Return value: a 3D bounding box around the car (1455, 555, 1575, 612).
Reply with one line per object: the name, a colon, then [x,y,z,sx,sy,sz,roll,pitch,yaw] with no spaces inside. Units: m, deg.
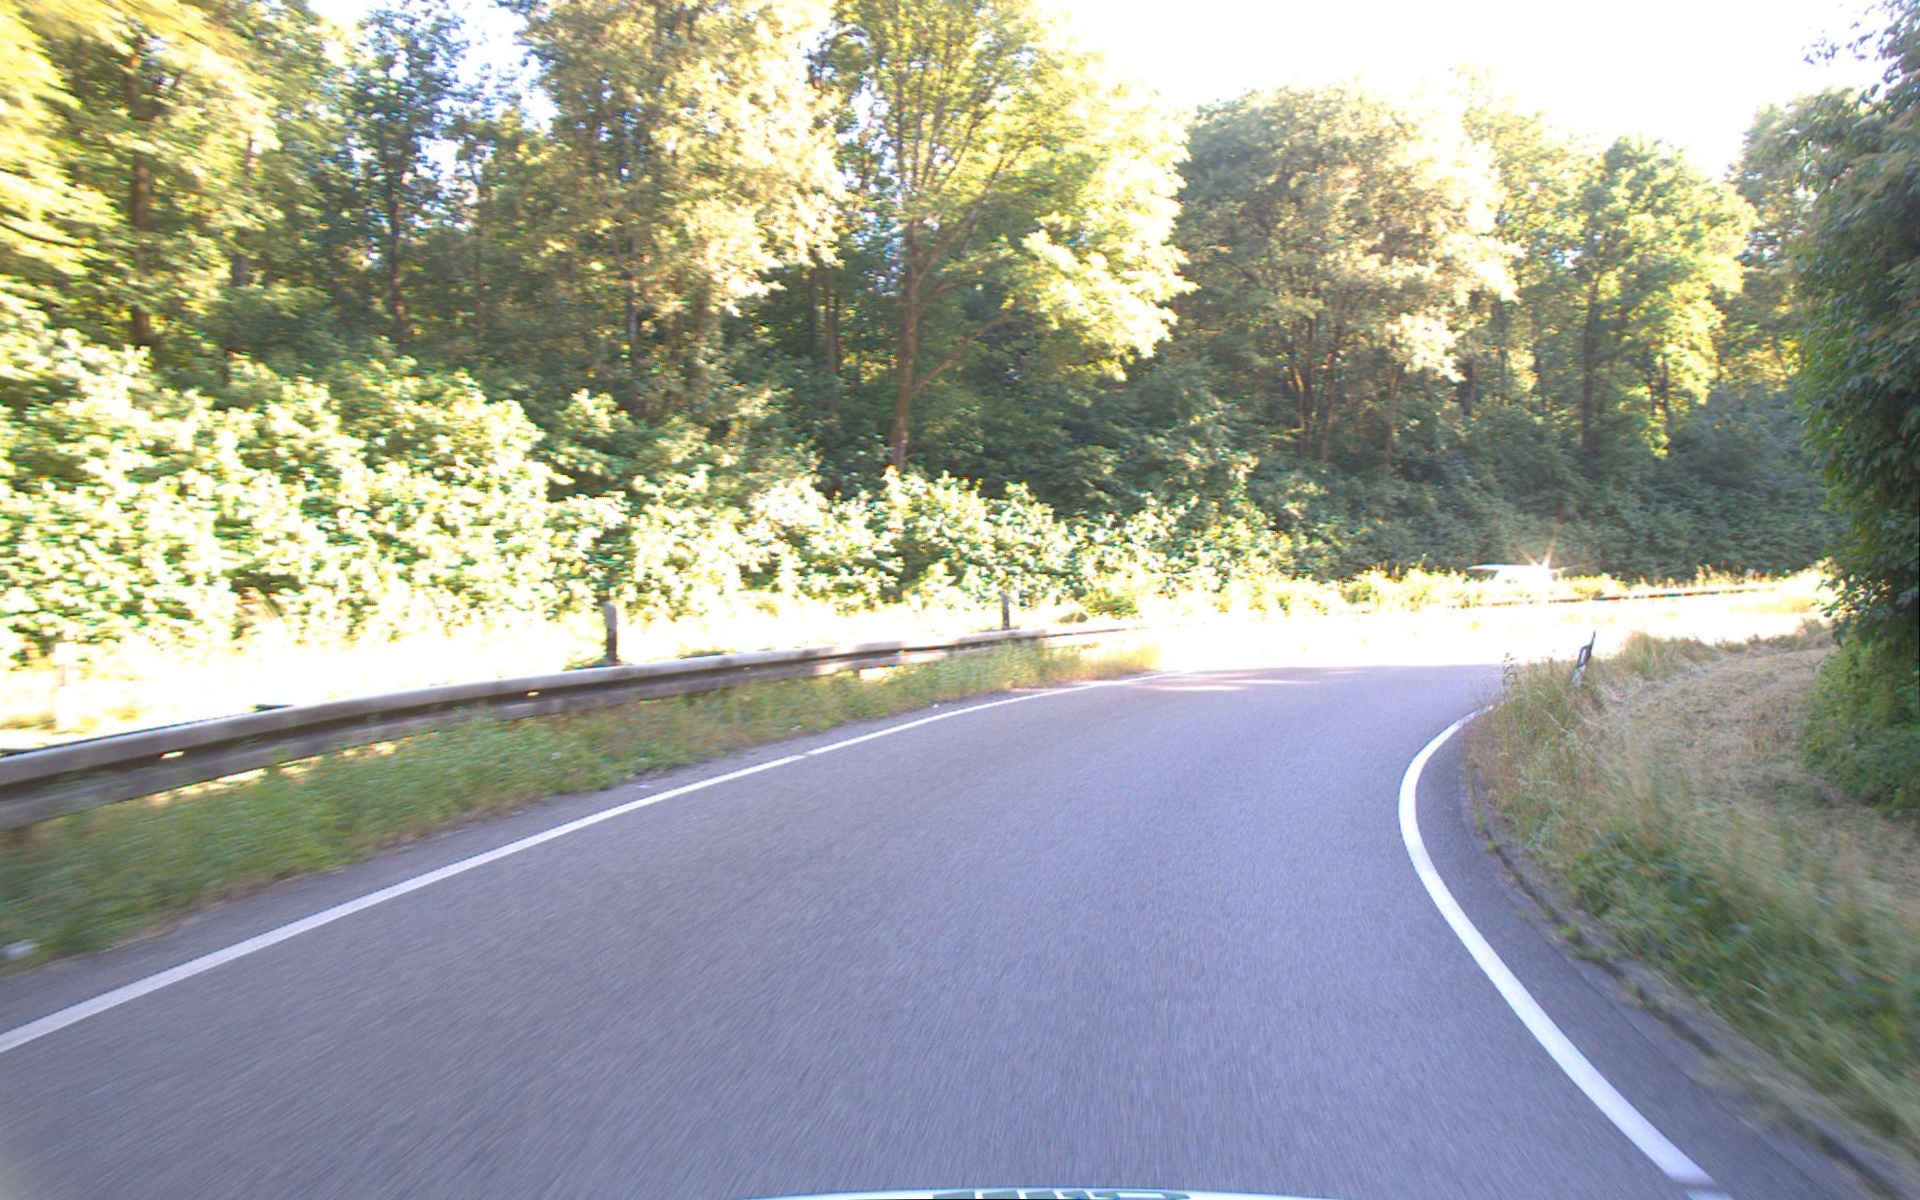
car: [15.880,-0.483,47.204,1.698,1.513,3.972,-1,1,44]
